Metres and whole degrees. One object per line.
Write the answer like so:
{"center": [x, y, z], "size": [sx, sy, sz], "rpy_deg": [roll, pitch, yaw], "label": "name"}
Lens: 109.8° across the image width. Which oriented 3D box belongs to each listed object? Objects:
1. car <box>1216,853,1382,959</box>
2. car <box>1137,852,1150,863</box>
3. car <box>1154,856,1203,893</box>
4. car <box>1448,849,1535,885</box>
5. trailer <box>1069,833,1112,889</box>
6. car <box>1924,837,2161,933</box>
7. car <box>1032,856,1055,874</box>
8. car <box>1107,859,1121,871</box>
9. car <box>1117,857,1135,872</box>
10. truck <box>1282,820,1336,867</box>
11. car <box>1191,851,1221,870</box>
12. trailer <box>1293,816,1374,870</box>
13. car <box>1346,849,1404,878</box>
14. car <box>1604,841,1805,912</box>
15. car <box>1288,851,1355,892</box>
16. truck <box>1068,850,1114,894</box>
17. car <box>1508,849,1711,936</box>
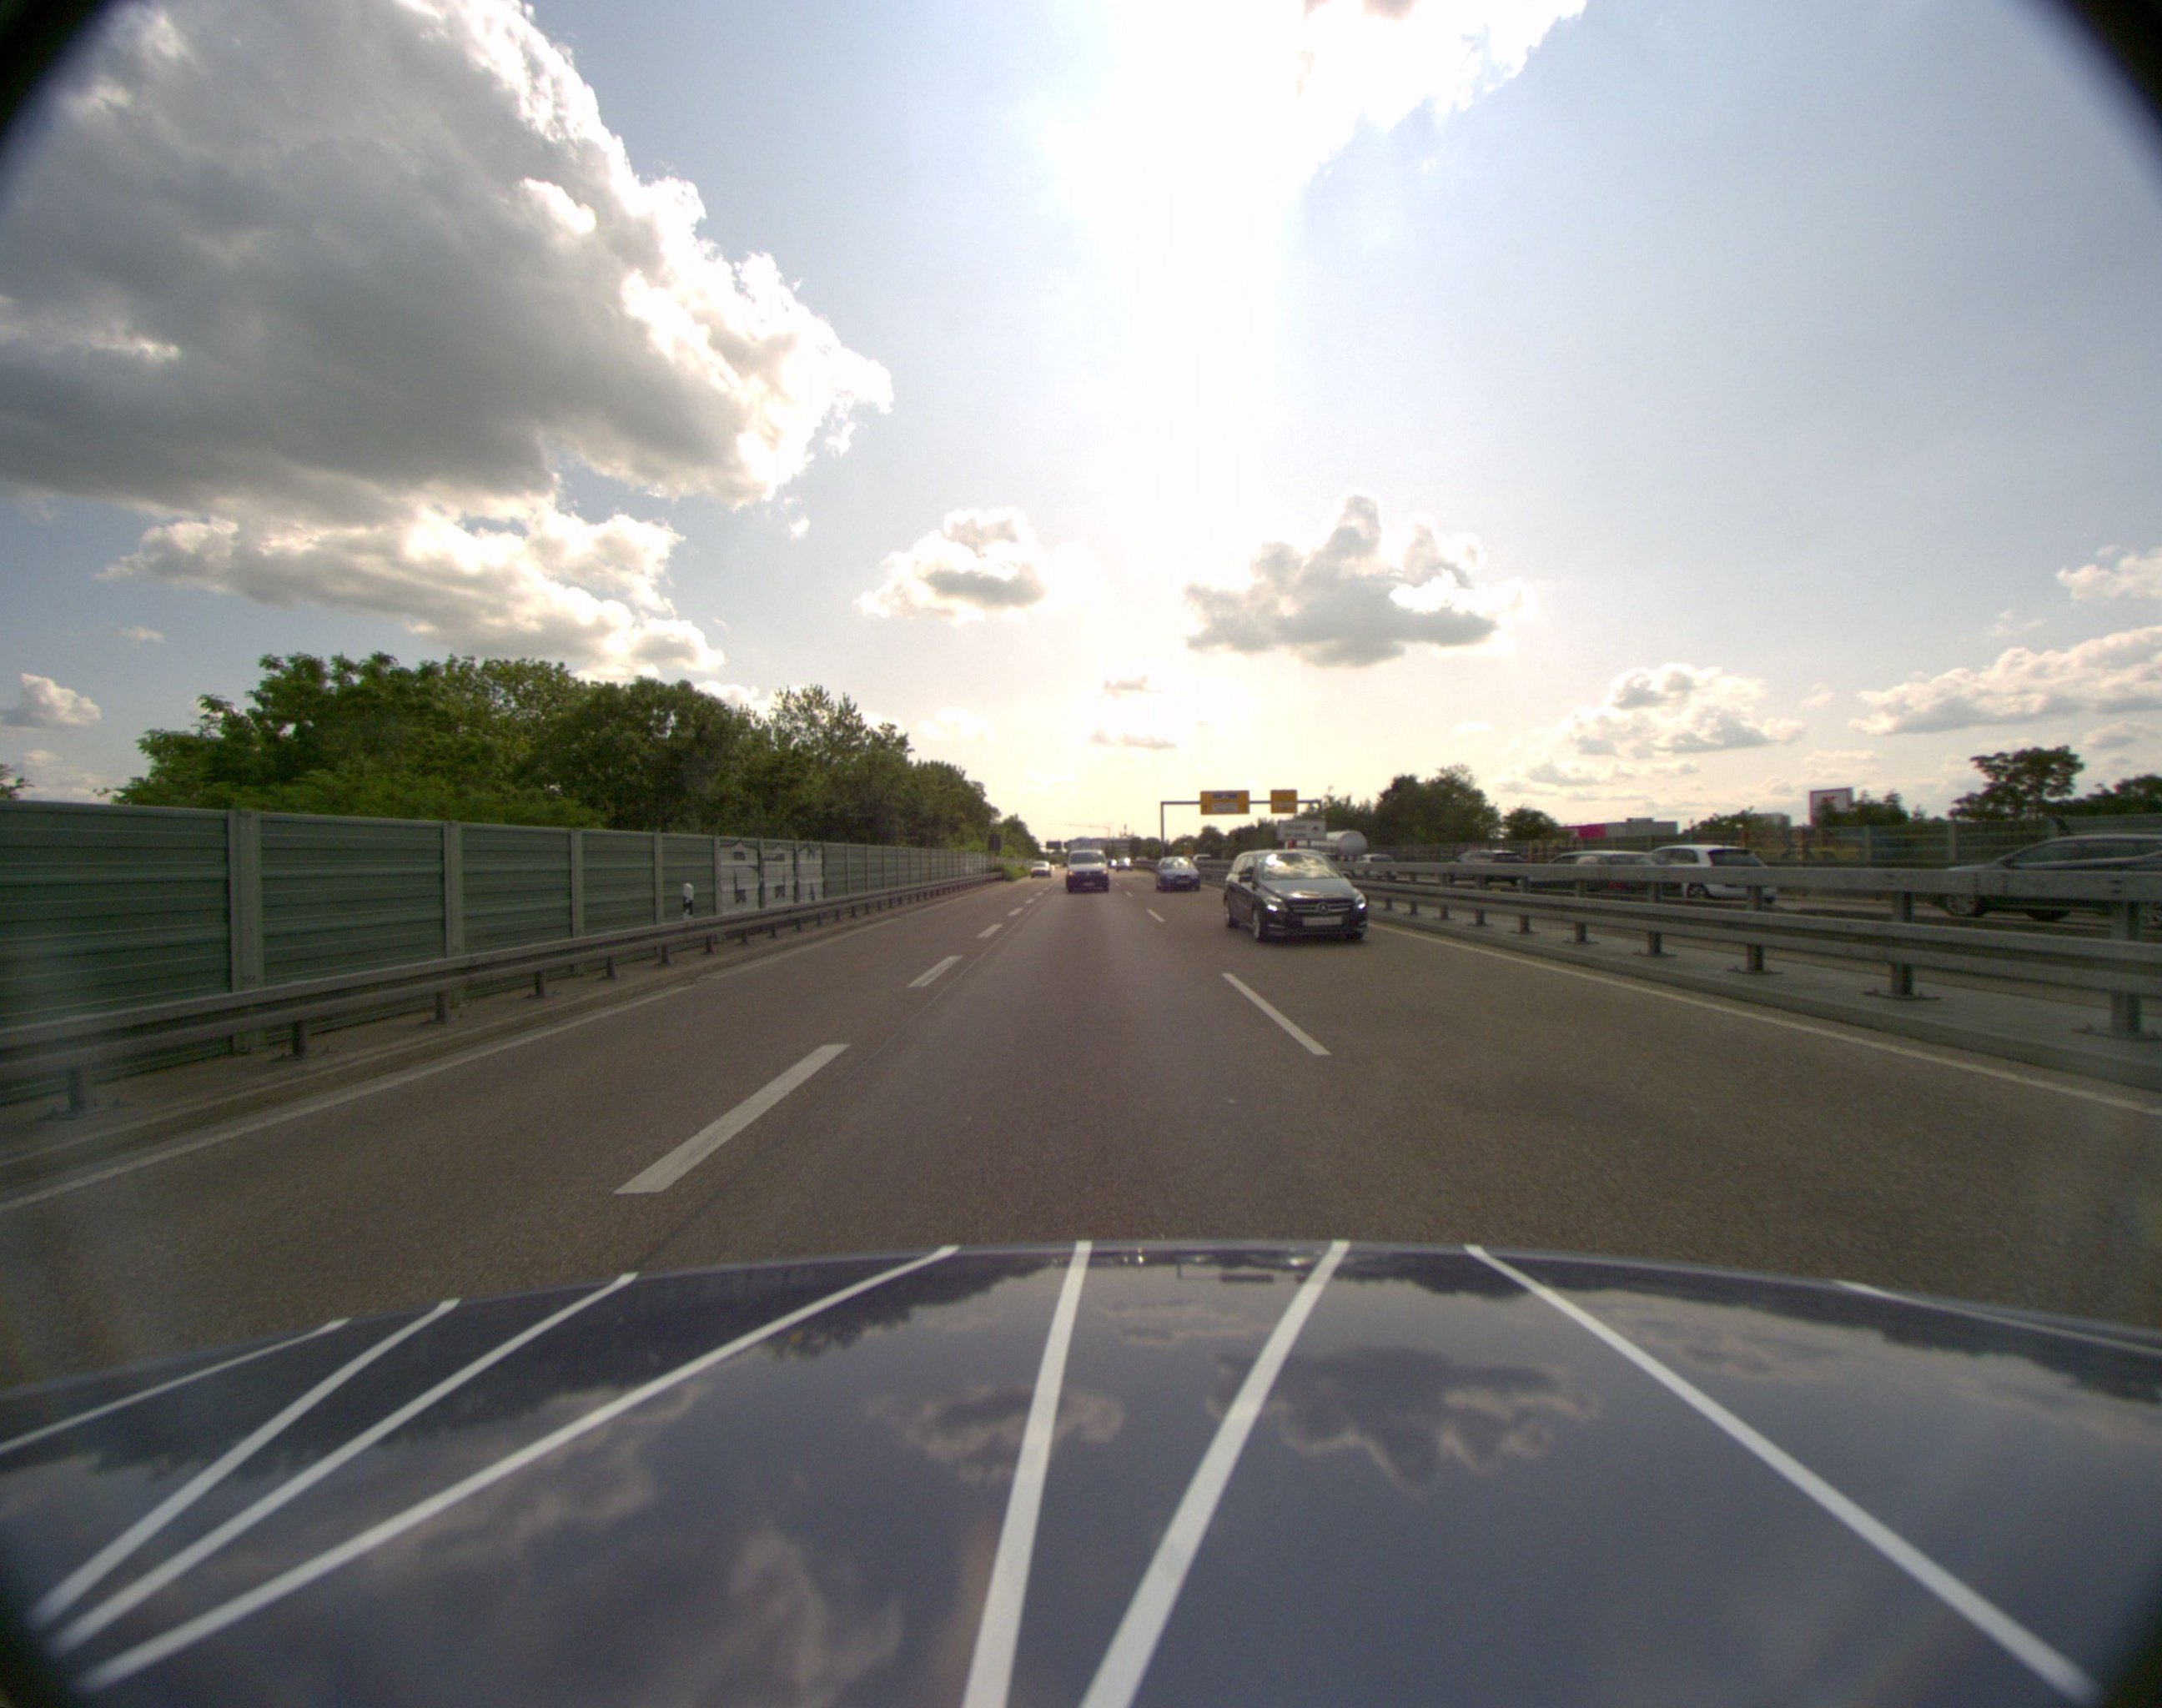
{"center": [3.748, 0.793, 13.934], "size": [1.716, 1.518, 4.592], "rpy_deg": [-3, 0, 1], "label": "car"}
{"center": [12.906, 0.716, 157.058], "size": [2.085, 1.978, 5.226], "rpy_deg": [-2, 3, 0], "label": "car"}
{"center": [4.166, 0.831, 33.028], "size": [1.625, 1.403, 3.771], "rpy_deg": [-3, 0, 1], "label": "car"}
{"center": [19.000, 0.558, 35.376], "size": [1.719, 1.610, 4.281], "rpy_deg": [0, 0, 0], "label": "car"}
{"center": [0.469, 0.328, 40.673], "size": [1.998, 2.723, 5.966], "rpy_deg": [-3, 0, 0], "label": "trailer"}
{"center": [18.652, 0.493, 13.784], "size": [1.929, 1.565, 4.282], "rpy_deg": [-2, 0, -1], "label": "car"}
{"center": [-3.319, 0.975, 68.275], "size": [1.768, 1.403, 3.771], "rpy_deg": [-3, 0, 1], "label": "car"}
{"center": [4.967, 1.633, 113.260], "size": [1.895, 1.518, 4.465], "rpy_deg": [-3, 0, 1], "label": "car"}
{"center": [5.078, 1.159, 86.671], "size": [1.779, 1.518, 4.465], "rpy_deg": [-3, 0, 1], "label": "car"}
{"center": [19.420, -0.859, 65.068], "size": [2.655, 3.760, 6.232], "rpy_deg": [-3, 0, 1], "label": "truck"}
{"center": [12.758, 0.651, 77.798], "size": [1.999, 1.740, 4.595], "rpy_deg": [-3, 0, -3], "label": "car"}
{"center": [19.327, -0.790, 59.008], "size": [2.691, 3.648, 11.028], "rpy_deg": [-3, 0, 1], "label": "trailer"}
{"center": [16.950, 0.506, 43.987], "size": [1.787, 1.500, 3.959], "rpy_deg": [-3, 0, 0], "label": "car"}
{"center": [15.791, 0.515, 19.552], "size": [1.929, 1.565, 3.886], "rpy_deg": [-3, 0, -1], "label": "car"}
{"center": [11.827, 0.799, 37.703], "size": [1.998, 1.846, 4.239], "rpy_deg": [-3, 0, 1], "label": "car"}
{"center": [0.448, 0.800, 35.616], "size": [2.008, 1.905, 4.000], "rpy_deg": [-2, 0, 0], "label": "truck"}
{"center": [11.375, 0.785, 16.699], "size": [1.732, 1.613, 3.741], "rpy_deg": [-3, -1, -1], "label": "car"}
